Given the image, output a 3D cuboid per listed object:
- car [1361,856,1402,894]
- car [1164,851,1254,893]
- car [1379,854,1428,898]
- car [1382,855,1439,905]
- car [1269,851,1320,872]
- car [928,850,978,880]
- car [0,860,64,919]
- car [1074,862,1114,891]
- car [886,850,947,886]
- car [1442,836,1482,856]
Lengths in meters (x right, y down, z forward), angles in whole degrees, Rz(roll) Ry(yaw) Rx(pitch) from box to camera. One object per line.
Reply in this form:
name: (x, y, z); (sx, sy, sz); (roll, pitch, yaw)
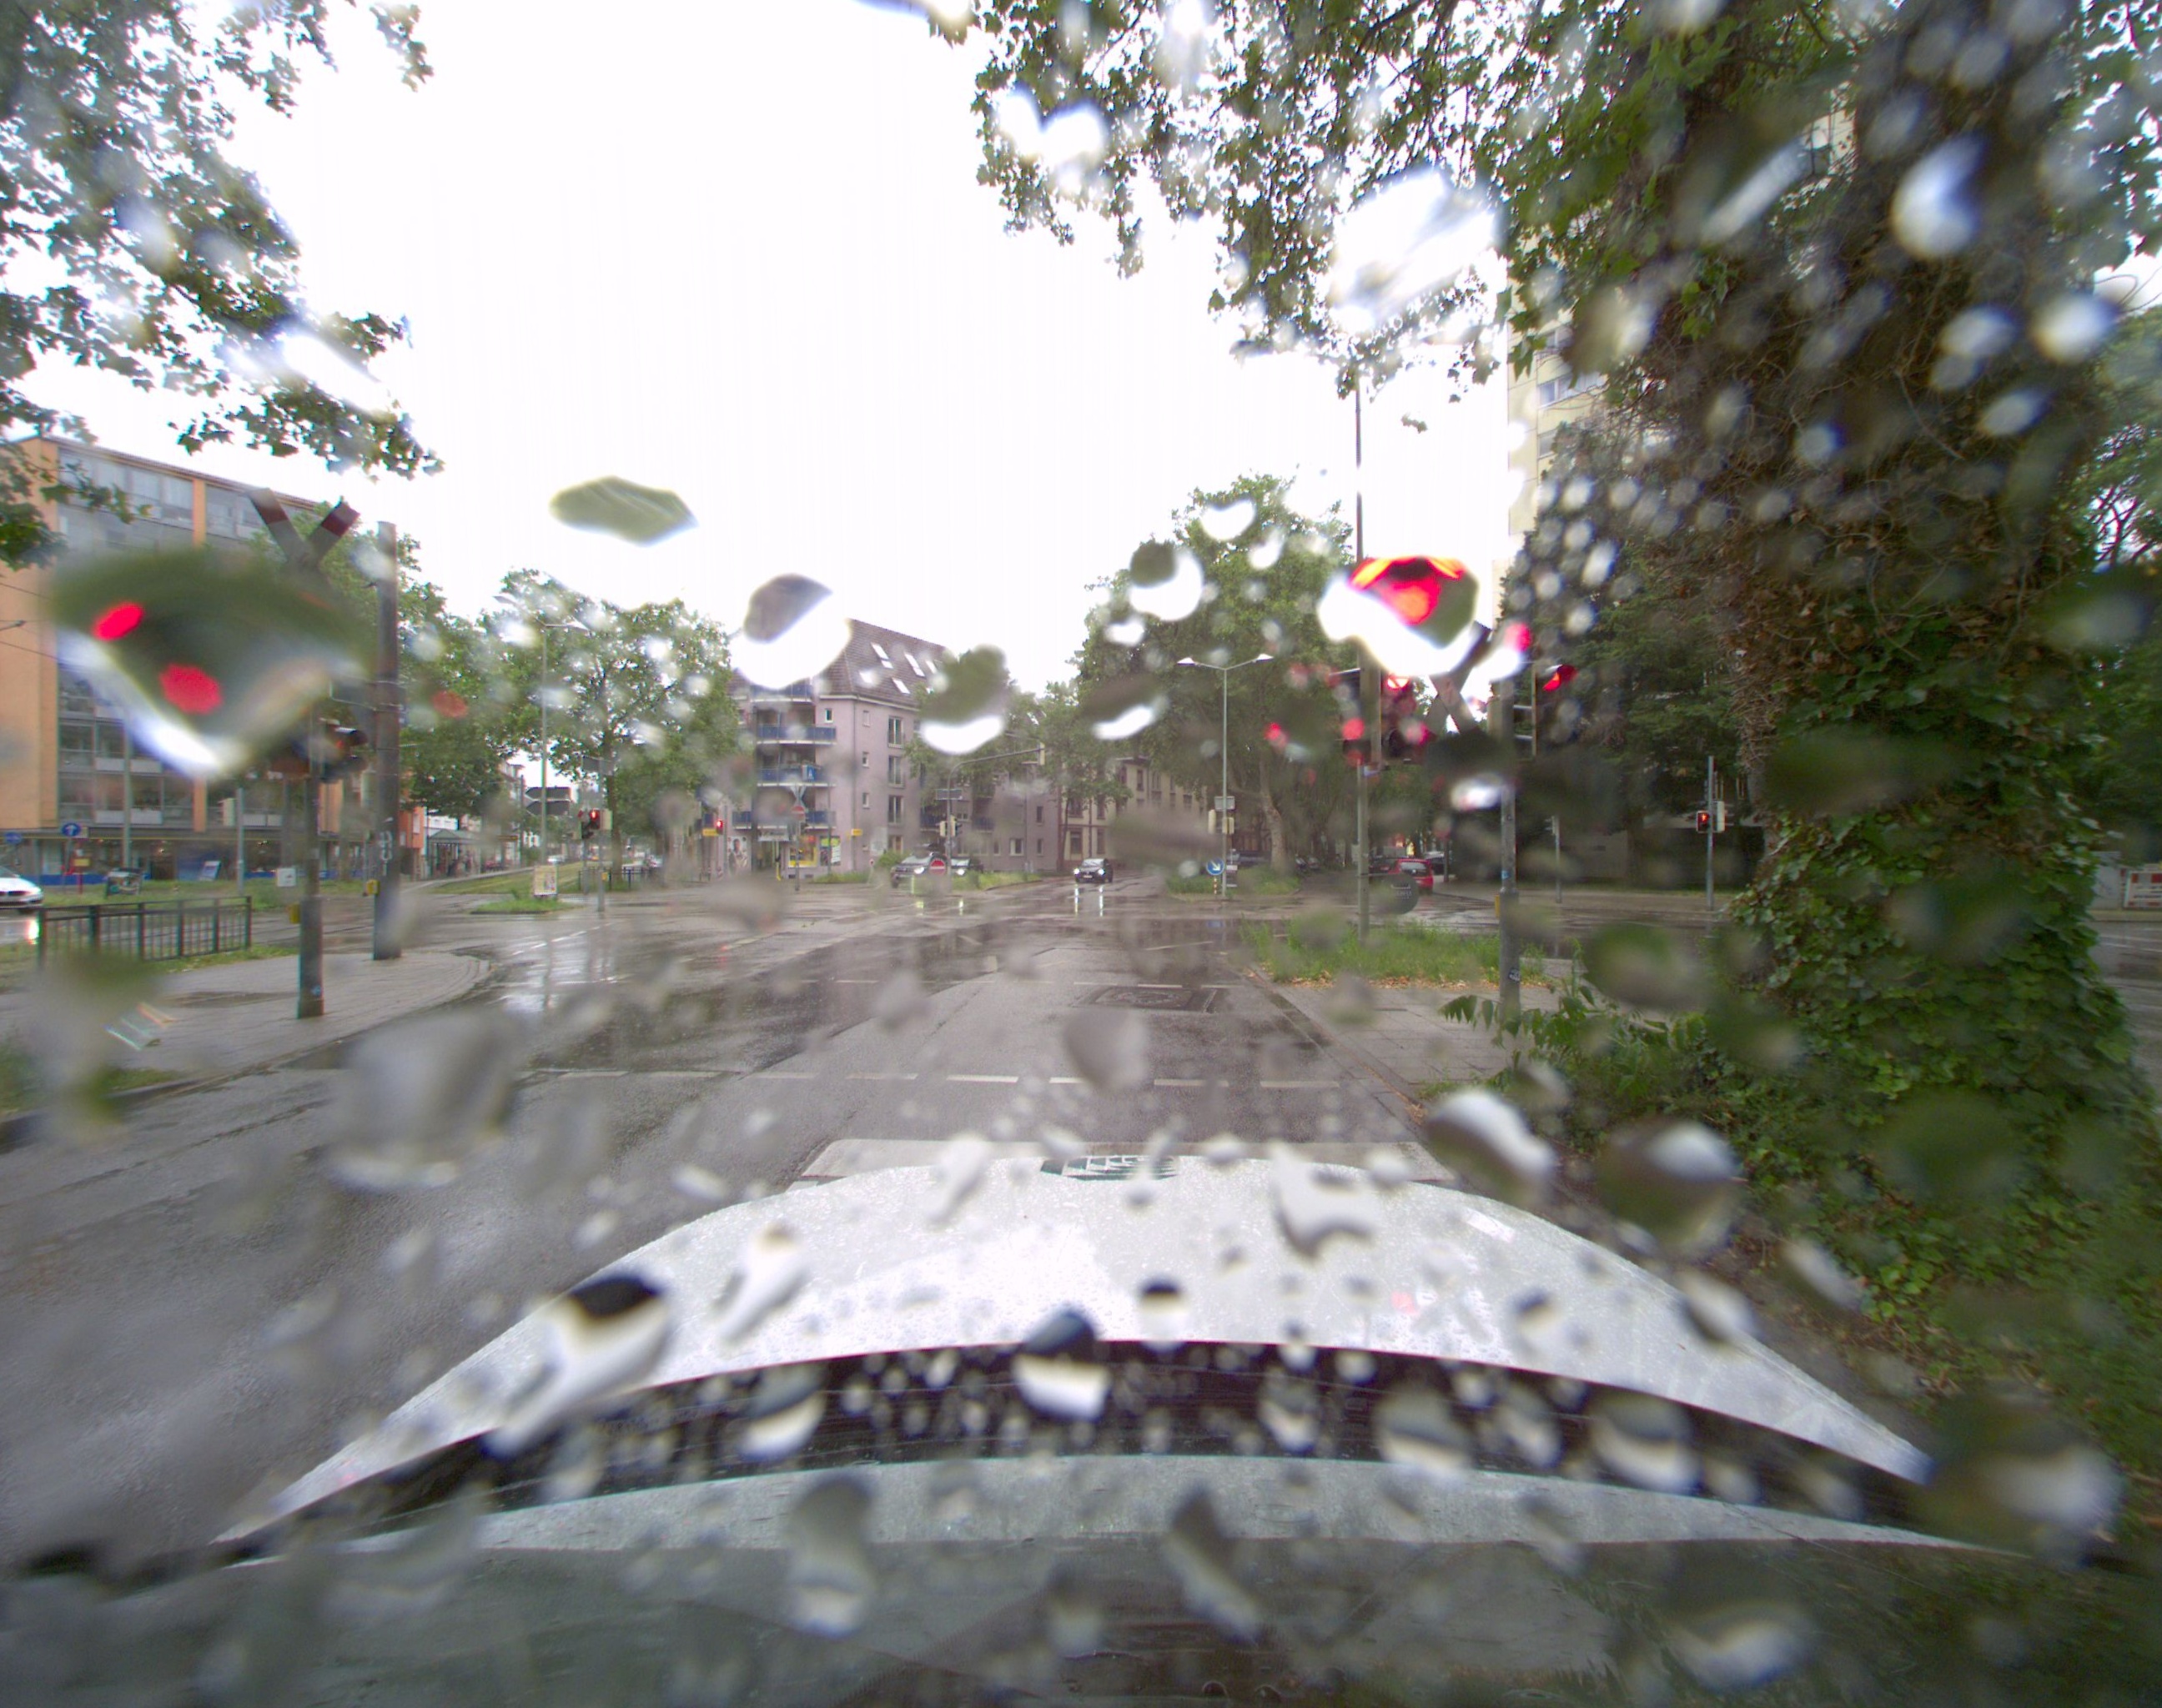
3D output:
car: (17.447, 1.196, 47.429); (1.977, 2.013, 4.019); (-2, 0, 18)
car: (5.193, 0.718, 32.961); (3.457, 1.523, 1.524); (-2, 0, 10)
car: (16.027, 1.045, 40.626); (1.977, 2.013, 4.019); (-2, 0, 18)
car: (14.606, 1.109, 36.288); (1.977, 2.013, 4.019); (-2, 0, 18)
car: (17.105, 0.603, 65.169); (3.571, 1.618, 1.692); (-2, 0, 30)
car: (-7.031, 0.592, 45.073); (1.715, 1.552, 3.567); (-2, 0, 8)
car: (-32.157, 1.067, 23.496); (3.978, 1.651, 1.980); (-2, 0, 13)
car: (0.779, 1.307, 47.910); (1.591, 1.552, 3.572); (-2, 0, 13)
car: (-7.842, 0.642, 39.181); (1.715, 1.552, 3.567); (-2, 0, 8)
car: (42.632, -0.889, 91.213); (3.953, 2.013, 1.716); (-2, 0, 21)
